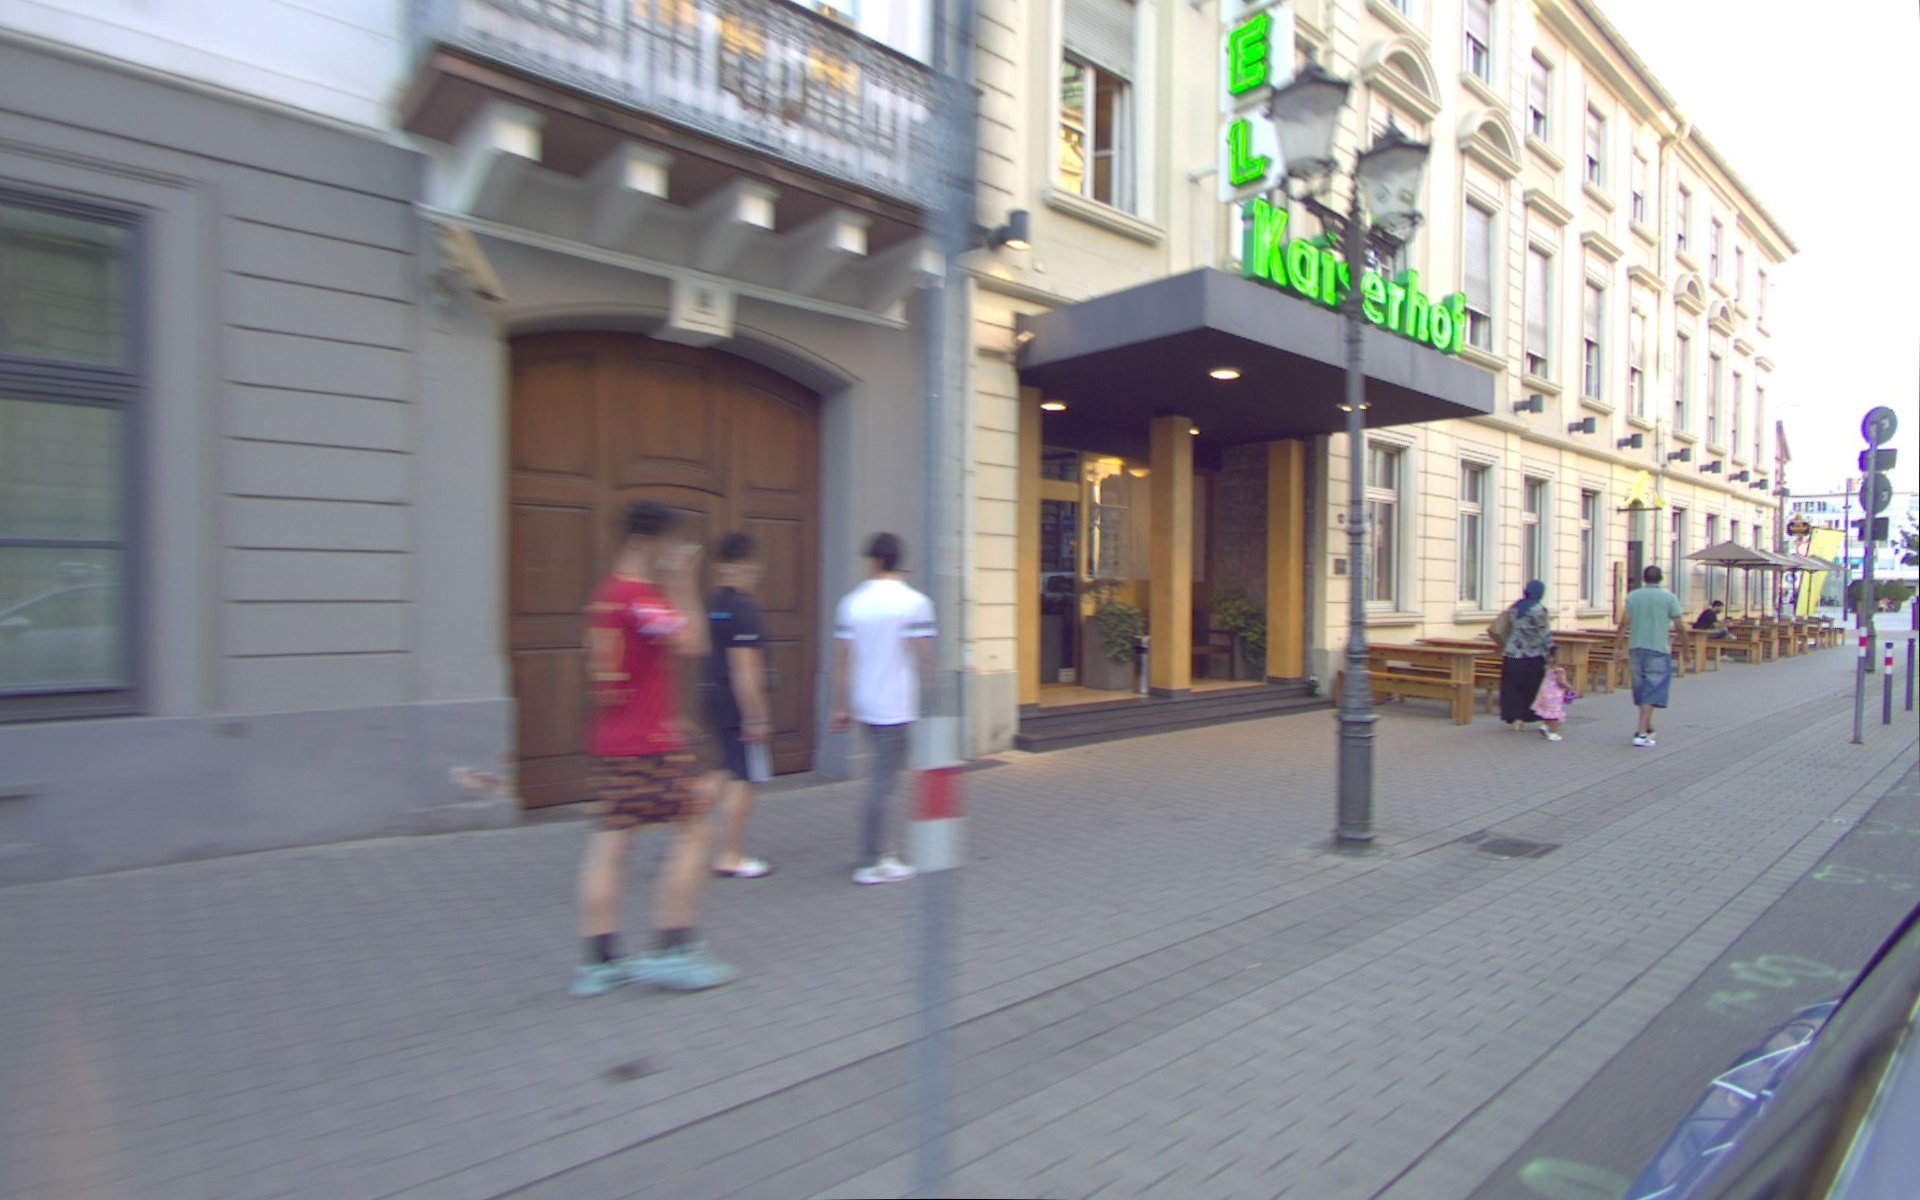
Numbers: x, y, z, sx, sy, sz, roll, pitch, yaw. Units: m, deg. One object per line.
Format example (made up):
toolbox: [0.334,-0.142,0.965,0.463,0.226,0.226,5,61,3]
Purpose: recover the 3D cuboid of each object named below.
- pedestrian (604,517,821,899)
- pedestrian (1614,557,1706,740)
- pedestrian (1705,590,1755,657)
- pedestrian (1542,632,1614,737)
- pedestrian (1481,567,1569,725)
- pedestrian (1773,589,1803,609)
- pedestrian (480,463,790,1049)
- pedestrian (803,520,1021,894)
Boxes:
pedestrian: [-1.270,0.486,5.192,0.857,1.751,0.715,0,1,-39]
pedestrian: [6.982,0.460,10.100,0.548,1.751,0.608,0,1,-40]
pedestrian: [16.366,0.480,21.519,0.771,1.376,0.716,1,1,33]
pedestrian: [6.242,0.834,10.225,0.548,0.992,0.461,0,1,-40]
pedestrian: [6.003,0.461,10.758,0.604,1.621,0.631,0,1,-40]
pedestrian: [54.200,-0.098,66.242,1.396,1.278,1.310,1,1,36]
pedestrian: [-1.167,0.474,3.653,0.897,1.812,0.621,0,1,-40]
pedestrian: [-0.256,0.492,5.308,0.865,1.751,0.750,0,1,-38]
